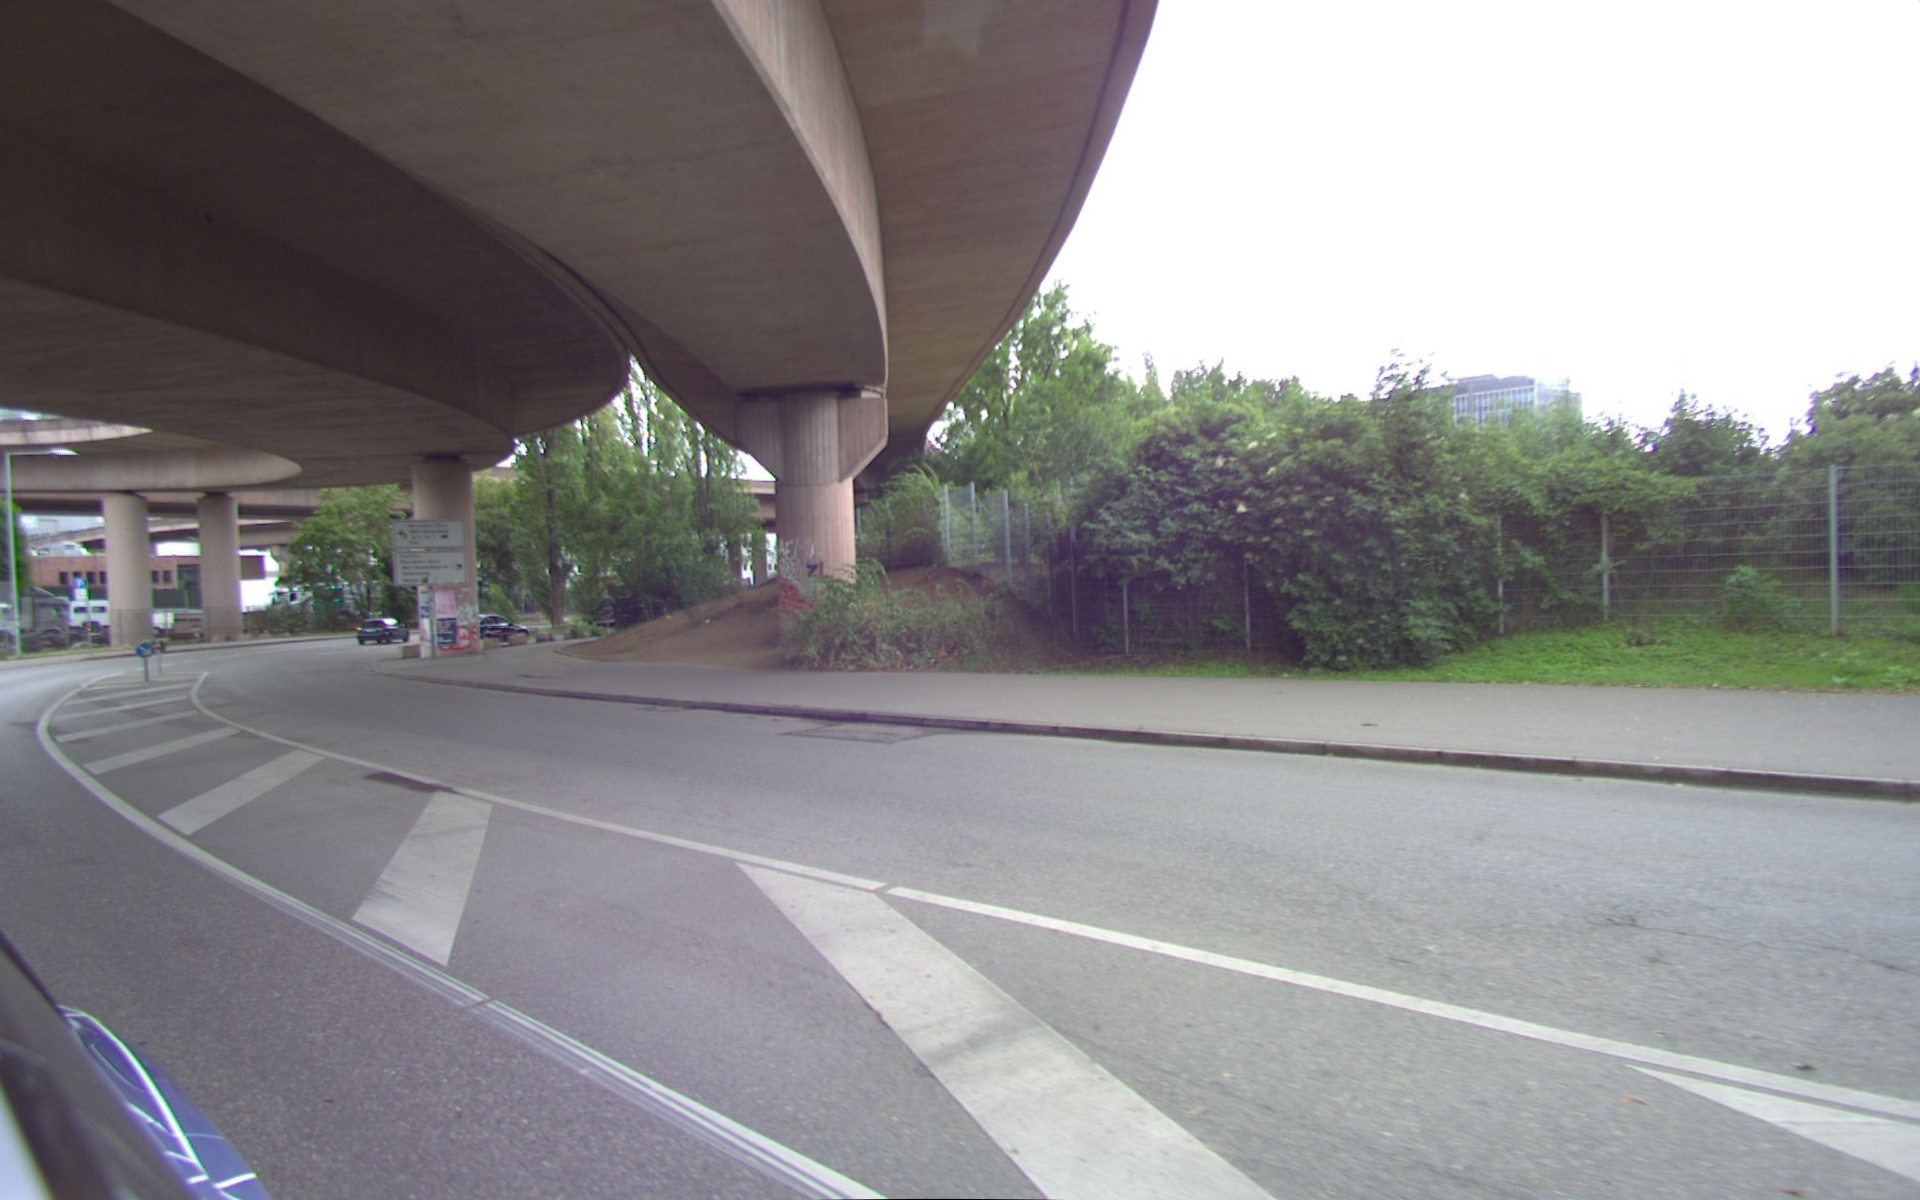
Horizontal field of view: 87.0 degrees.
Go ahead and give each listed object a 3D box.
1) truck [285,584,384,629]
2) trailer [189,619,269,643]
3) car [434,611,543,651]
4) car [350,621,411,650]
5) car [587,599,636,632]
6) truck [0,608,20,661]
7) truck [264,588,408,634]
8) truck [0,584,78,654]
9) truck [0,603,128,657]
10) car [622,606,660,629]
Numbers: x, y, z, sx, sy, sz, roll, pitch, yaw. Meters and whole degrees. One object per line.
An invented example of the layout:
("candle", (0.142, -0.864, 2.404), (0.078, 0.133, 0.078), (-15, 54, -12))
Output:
("truck", (-50.281, 0.488, 81.463), (2.268, 3.434, 6.330), (0, 1, 38))
("trailer", (-47.529, 1.978, 65.910), (1.588, 1.341, 4.370), (-1, 1, 9))
("car", (-20.640, 1.318, 44.538), (1.809, 1.441, 4.757), (-4, 0, 11))
("car", (-32.953, 2.005, 57.638), (1.655, 1.441, 4.008), (-2, 0, -9))
("car", (-21.943, 0.947, 63.680), (1.826, 1.931, 4.988), (-2, 1, -31))
("truck", (-53.600, 1.922, 53.564), (2.421, 2.908, 6.128), (-2, 0, -6))
("truck", (-51.928, 0.834, 84.574), (2.266, 3.524, 10.092), (0, 1, 36))
("truck", (-63.479, 1.322, 64.701), (3.905, 4.399, 10.016), (-3, 0, 35))
("truck", (-50.462, 1.580, 57.029), (2.385, 2.764, 7.253), (-2, 0, -12))
("car", (-21.322, 1.166, 67.660), (1.538, 1.390, 3.716), (-2, 1, -31))
